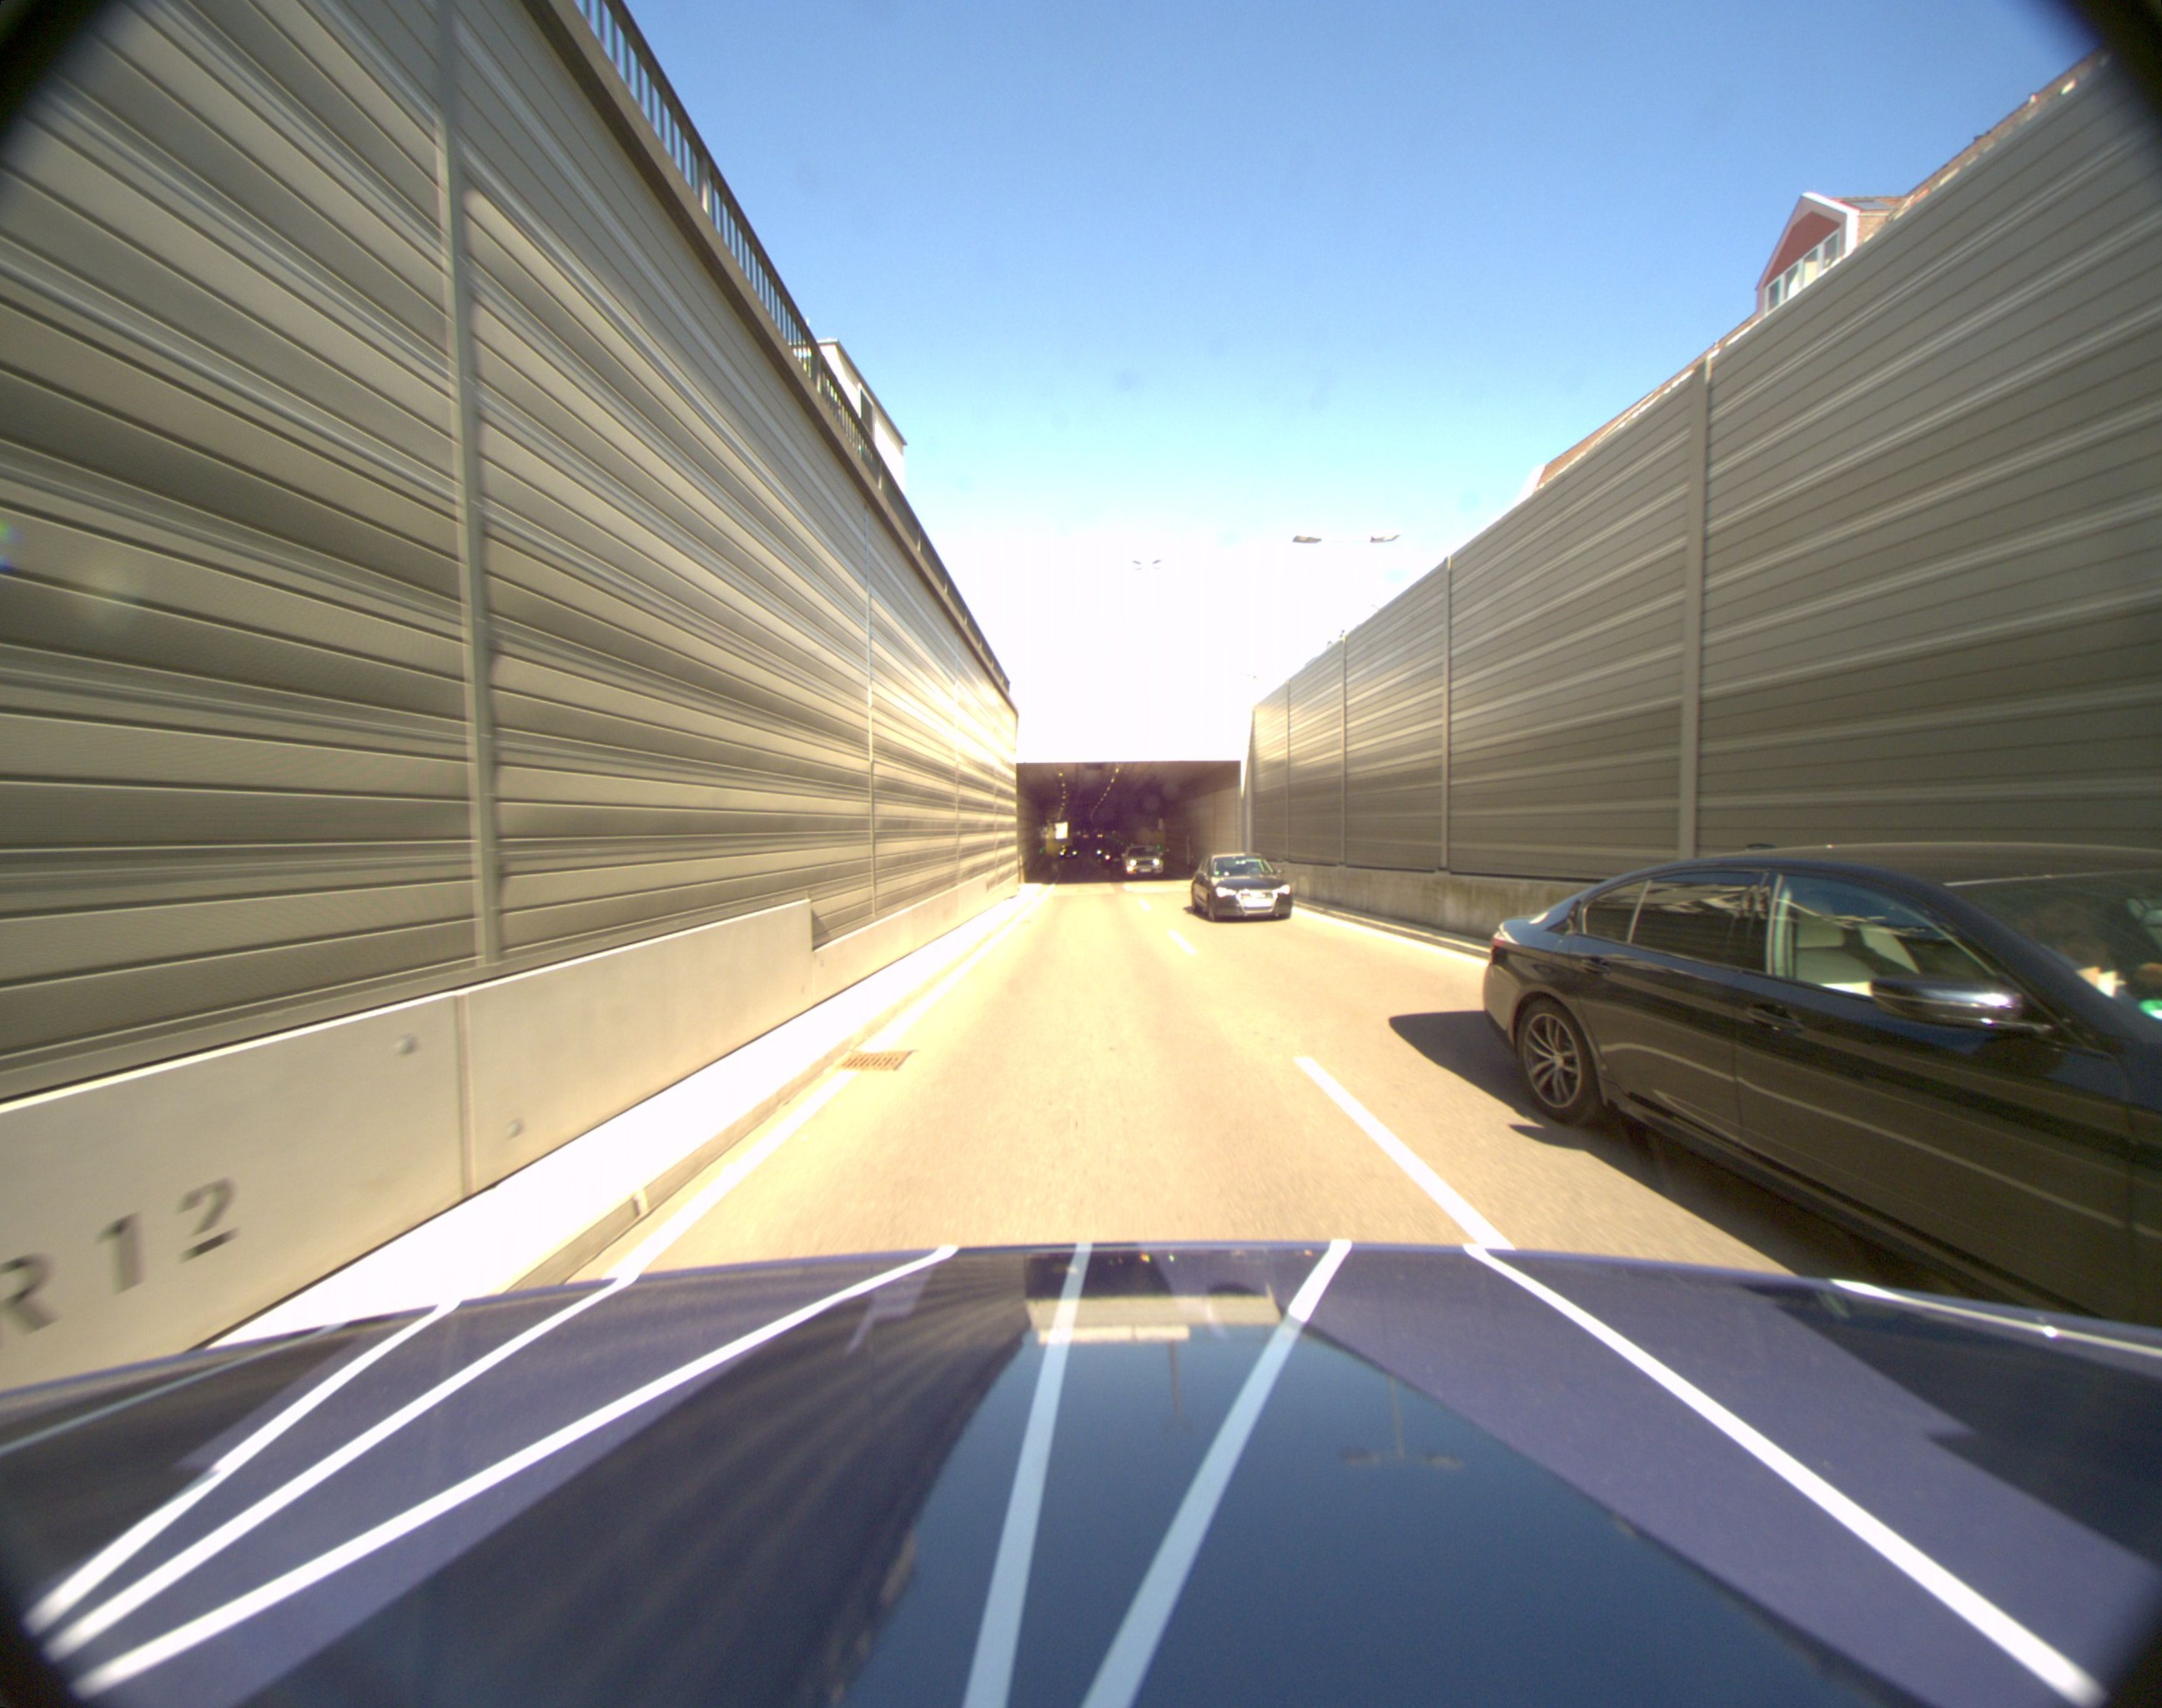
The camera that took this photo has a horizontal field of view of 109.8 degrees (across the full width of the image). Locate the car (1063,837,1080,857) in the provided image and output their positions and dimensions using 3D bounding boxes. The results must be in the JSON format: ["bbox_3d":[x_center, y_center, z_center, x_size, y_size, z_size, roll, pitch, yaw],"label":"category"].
[{"bbox_3d":[-1.012,-0.812,83.248,1.785,2.002,3.907,-2,2,0],"label":"car"}]

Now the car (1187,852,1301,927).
[{"bbox_3d":[3.490,0.709,16.991,1.700,1.410,3.888,-2,0,0],"label":"car"}]

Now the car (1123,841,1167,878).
[{"bbox_3d":[3.066,0.247,37.091,1.855,1.658,3.970,-1,1,1],"label":"car"}]

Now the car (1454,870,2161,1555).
[{"bbox_3d":[3.346,0.848,2.462,1.813,1.431,5.002,-2,0,0],"label":"car"}]

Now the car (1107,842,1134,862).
[{"bbox_3d":[3.055,-0.153,59.562,1.998,1.407,4.000,-2,1,1],"label":"car"}]

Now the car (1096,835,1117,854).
[{"bbox_3d":[2.825,-1.073,84.710,1.999,2.002,3.998,-2,2,-1],"label":"car"}]
